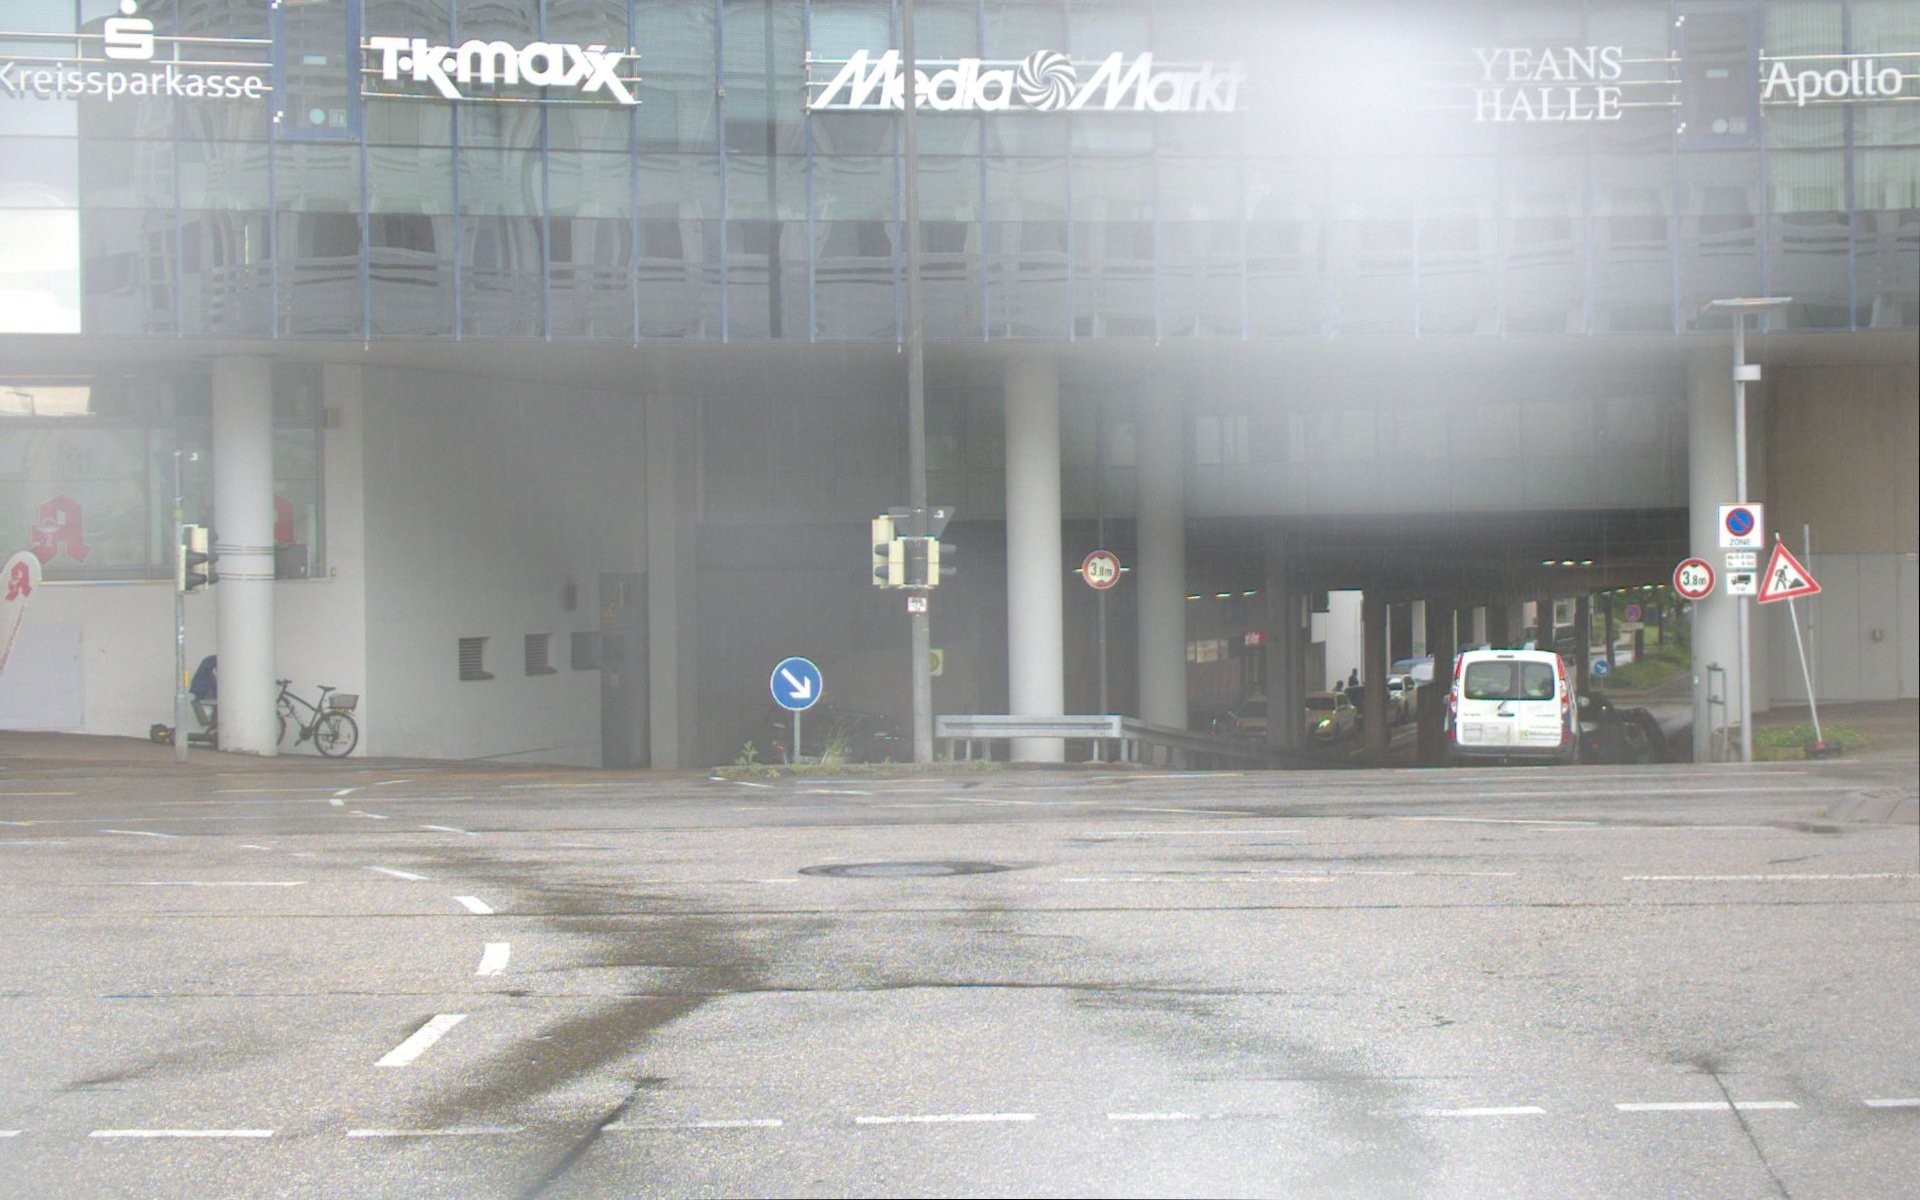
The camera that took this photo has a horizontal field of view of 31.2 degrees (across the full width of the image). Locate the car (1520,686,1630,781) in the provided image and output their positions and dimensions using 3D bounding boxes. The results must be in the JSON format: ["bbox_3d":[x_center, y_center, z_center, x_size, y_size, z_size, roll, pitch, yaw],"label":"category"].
[{"bbox_3d":[10.939,2.360,60.992,1.634,1.606,4.259,-2,-2,13],"label":"car"}]

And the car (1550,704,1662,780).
[{"bbox_3d":[12.402,2.738,65.883,1.781,1.396,3.996,-1,-3,15],"label":"car"}]

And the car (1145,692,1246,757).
[{"bbox_3d":[6.283,3.294,91.289,1.916,1.582,3.936,-1,-1,15],"label":"car"}]

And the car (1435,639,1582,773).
[{"bbox_3d":[7.803,1.482,48.631,1.926,1.791,4.294,-1,-1,10],"label":"car"}]

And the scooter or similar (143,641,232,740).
[{"bbox_3d":[-10.834,1.269,48.206,1.166,1.368,0.489,1,0,-15],"label":"scooter or similar"}]

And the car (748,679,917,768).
[{"bbox_3d":[-2.269,2.264,62.484,1.894,1.465,4.023,-1,-4,16],"label":"car"}]

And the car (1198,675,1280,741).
[{"bbox_3d":[7.825,2.998,96.089,1.837,1.722,3.998,-1,0,11],"label":"car"}]

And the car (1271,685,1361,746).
[{"bbox_3d":[10.567,3.402,101.877,1.995,1.658,3.997,1,0,15],"label":"car"}]

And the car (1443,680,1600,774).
[{"bbox_3d":[9.221,2.110,56.223,1.759,1.459,3.938,-2,-3,21],"label":"car"}]

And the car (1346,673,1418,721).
[{"bbox_3d":[14.086,3.213,114.597,1.994,1.459,3.998,-1,-1,13],"label":"car"}]

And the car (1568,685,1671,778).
[{"bbox_3d":[13.632,2.690,70.930,1.792,1.764,3.997,-1,-1,14],"label":"car"}]

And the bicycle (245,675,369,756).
[{"bbox_3d":[-9.254,1.636,48.710,1.581,1.014,0.452,6,-2,-31],"label":"bicycle"}]

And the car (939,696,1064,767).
[{"bbox_3d":[0.925,2.843,74.427,1.772,1.459,3.872,-1,-2,15],"label":"car"}]

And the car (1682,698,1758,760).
[{"bbox_3d":[20.117,3.395,90.901,1.889,1.486,3.838,1,0,13],"label":"car"}]

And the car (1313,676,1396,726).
[{"bbox_3d":[12.589,3.204,109.514,1.995,1.459,3.997,-1,-1,15],"label":"car"}]
